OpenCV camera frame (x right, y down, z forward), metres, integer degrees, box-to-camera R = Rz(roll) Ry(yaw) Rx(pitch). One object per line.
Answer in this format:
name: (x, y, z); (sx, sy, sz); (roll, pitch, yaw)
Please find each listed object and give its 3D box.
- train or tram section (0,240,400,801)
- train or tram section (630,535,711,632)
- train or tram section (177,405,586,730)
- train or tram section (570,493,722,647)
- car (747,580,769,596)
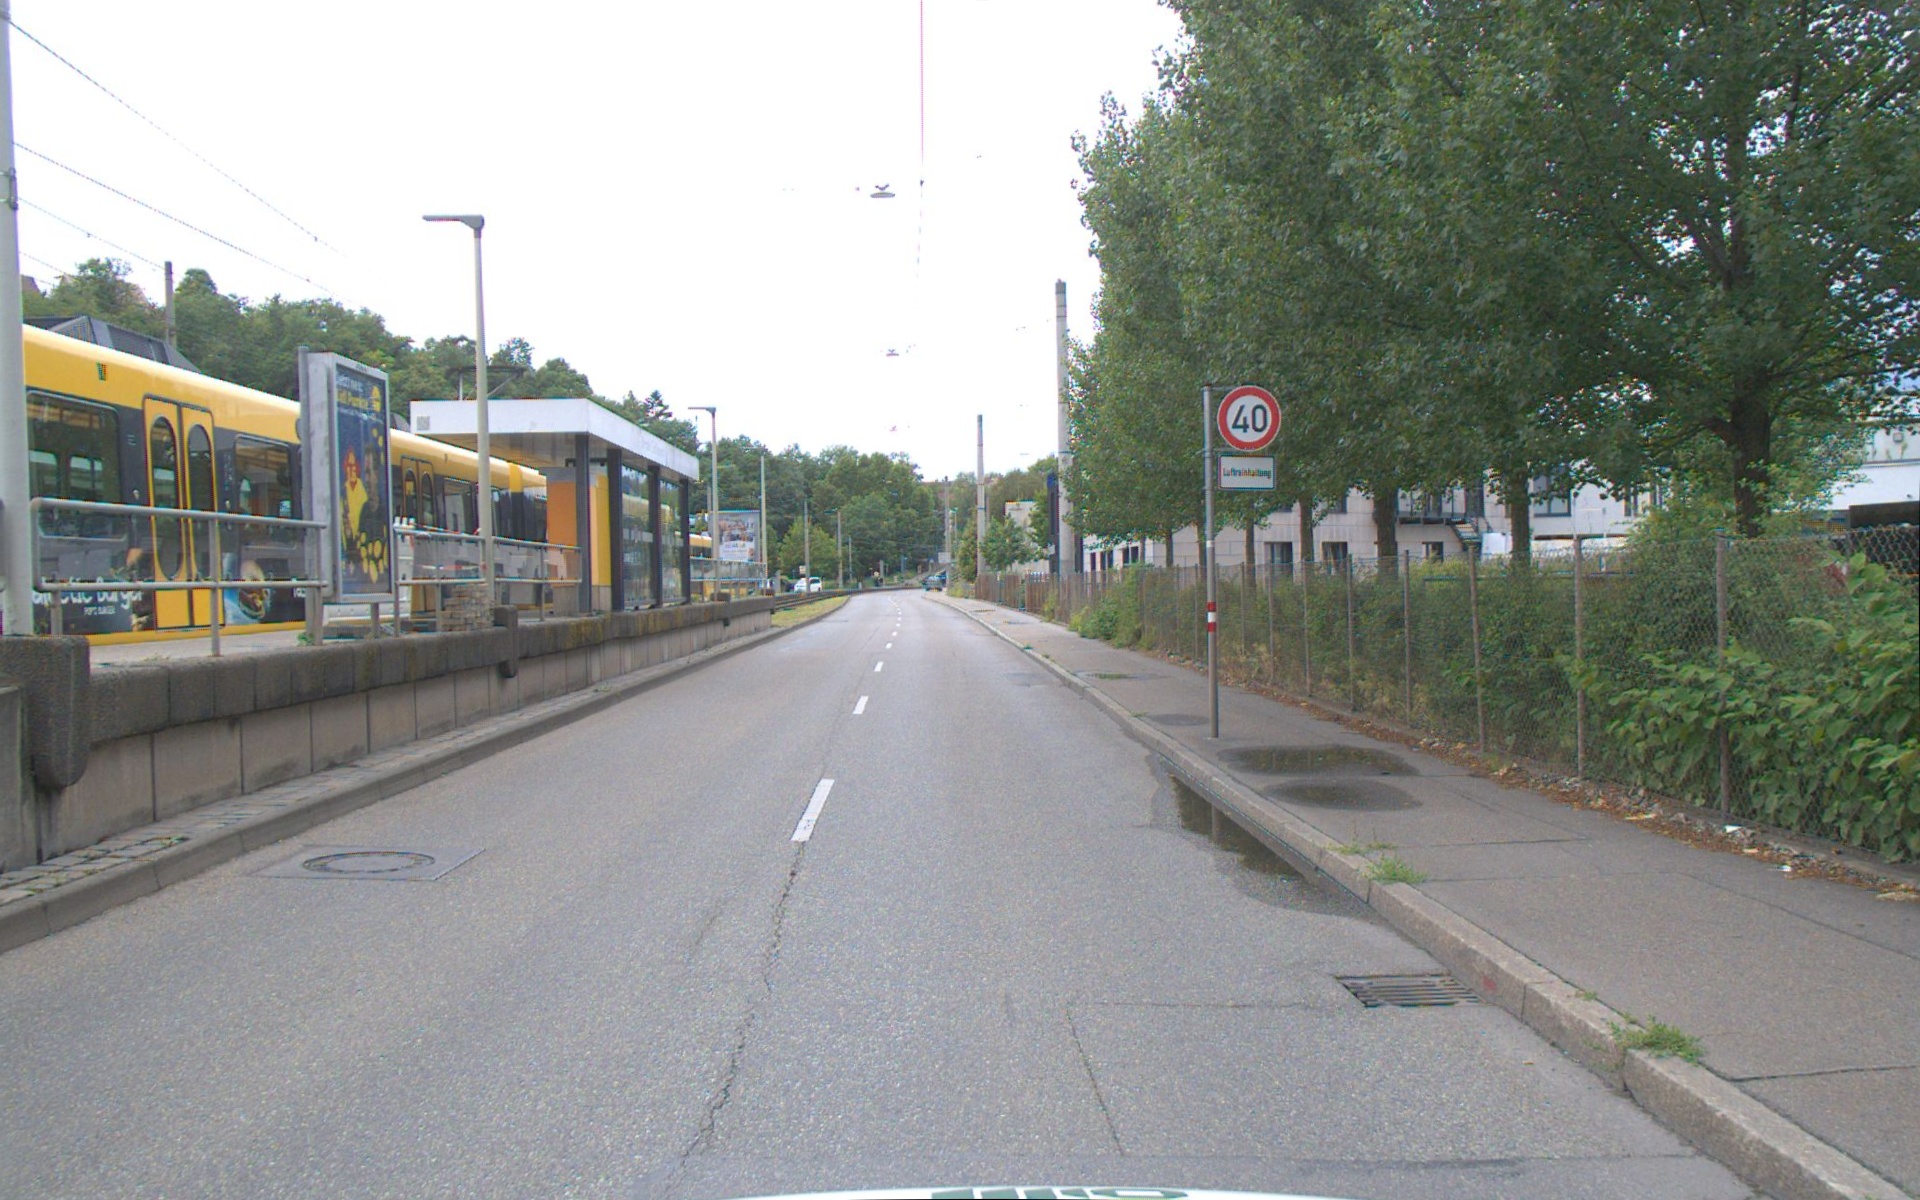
train or tram section: (-8.331, -0.611, 14.971); (2.685, 4.035, 11.909); (-2, 1, -2)
train or tram section: (-12.364, -0.686, 71.388); (1.953, 3.862, 9.176); (-2, 0, -1)
train or tram section: (-8.677, -0.538, 26.948); (2.685, 4.035, 11.909); (-2, 1, -2)
train or tram section: (-9.421, -0.940, 50.859); (2.912, 4.135, 10.193); (-2, 1, -2)
car: (-25.996, -1.585, 212.931); (1.789, 1.736, 4.145); (-3, -3, 8)
